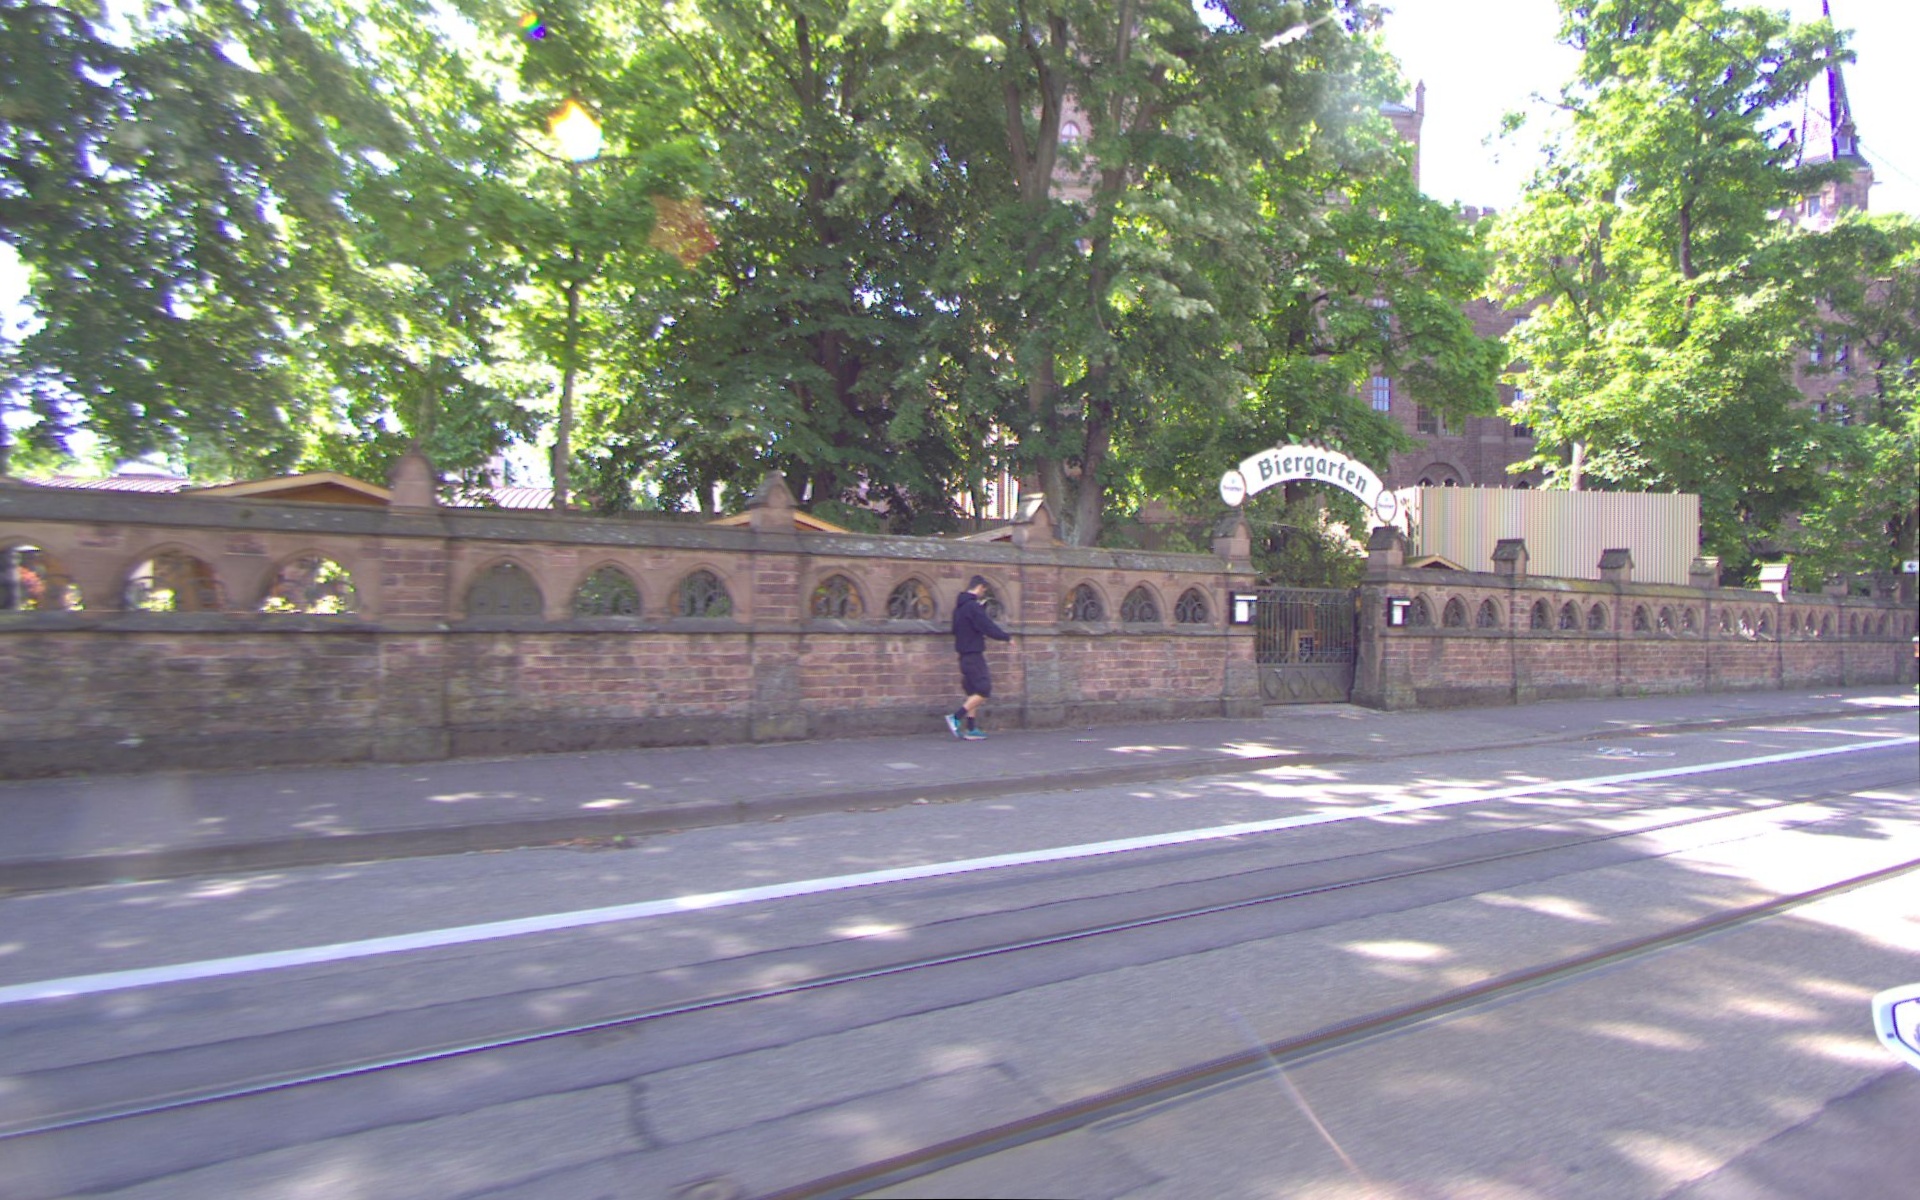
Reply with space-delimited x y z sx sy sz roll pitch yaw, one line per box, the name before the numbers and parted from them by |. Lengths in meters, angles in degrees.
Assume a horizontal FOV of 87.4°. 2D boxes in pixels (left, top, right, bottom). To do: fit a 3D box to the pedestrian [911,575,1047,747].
pedestrian | 0.205 0.664 11.560 1.171 1.840 0.972 1 2 -30
